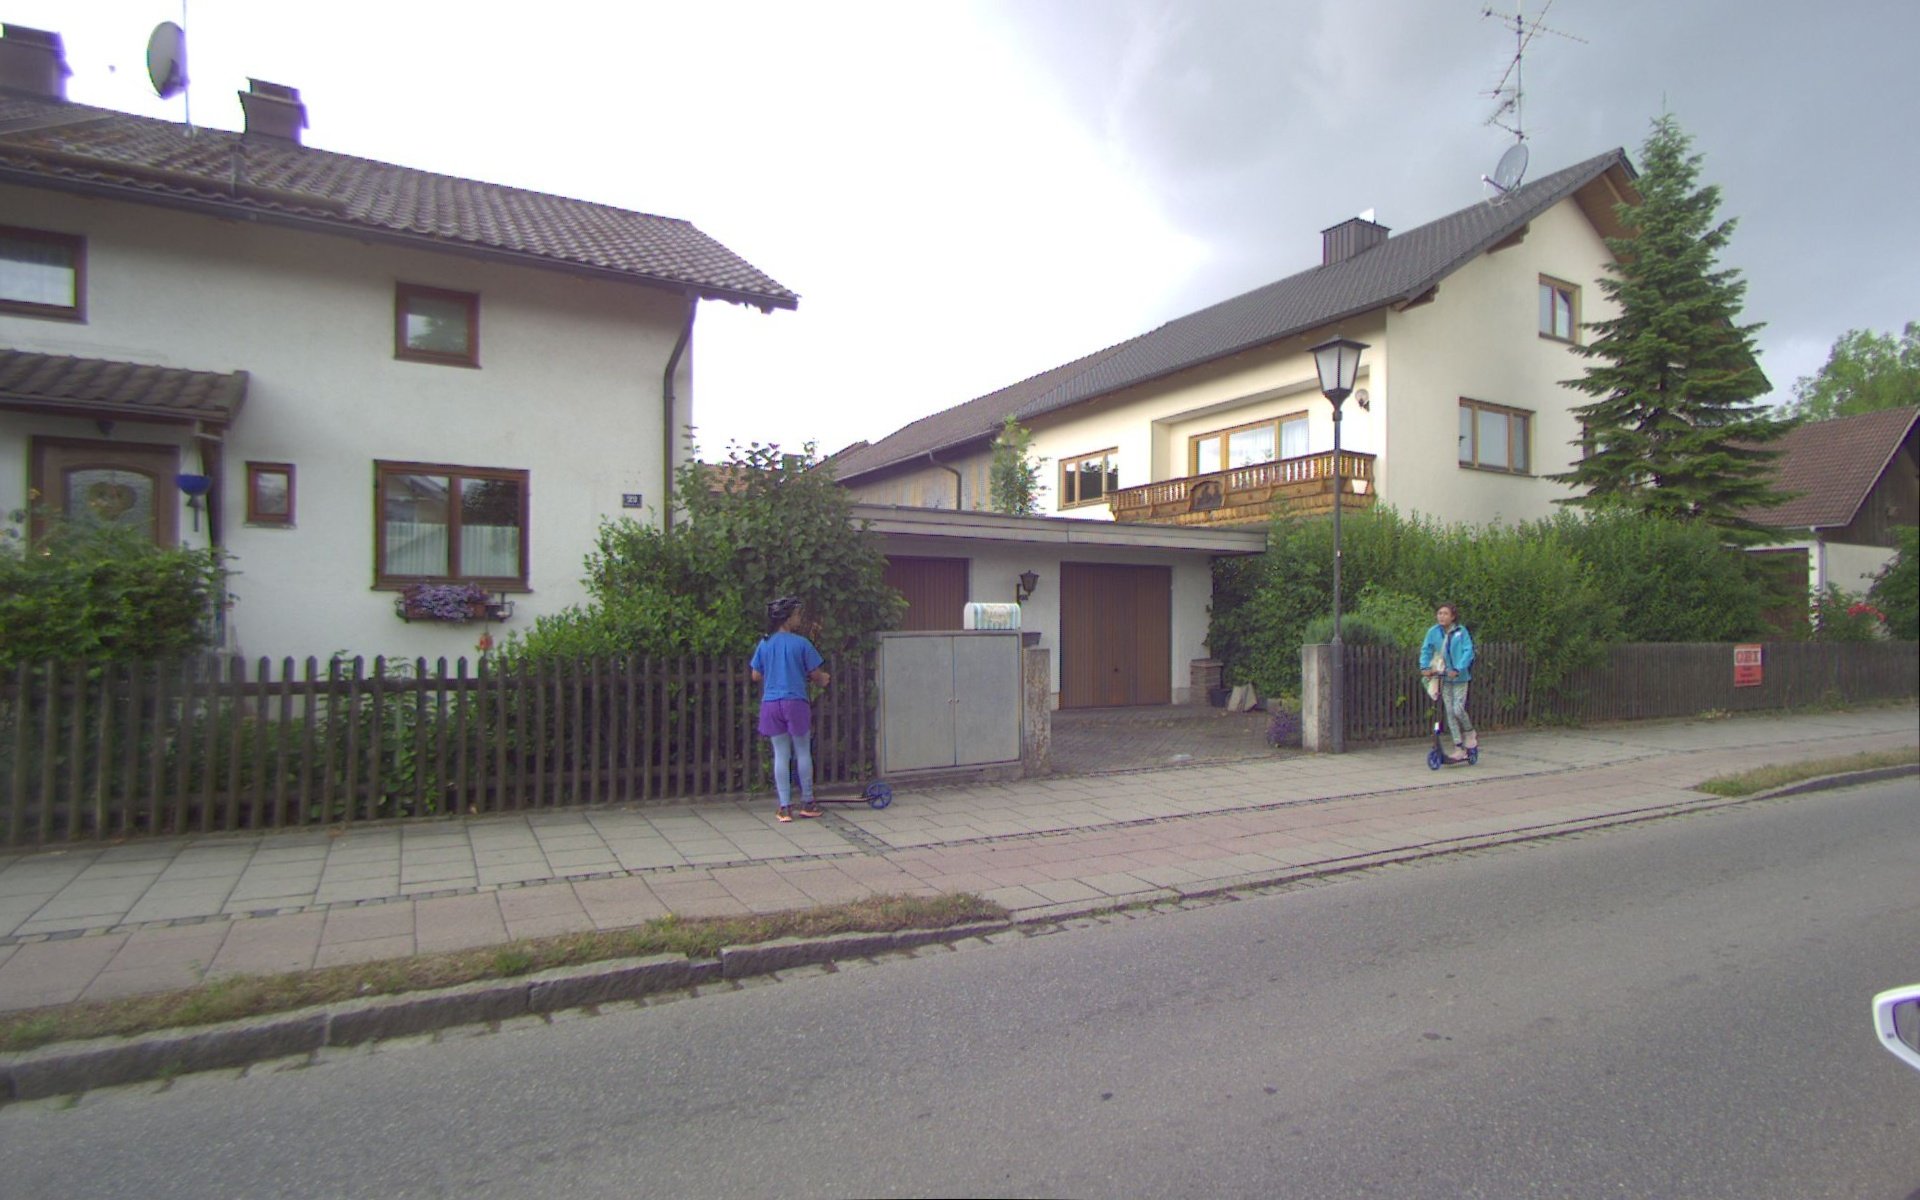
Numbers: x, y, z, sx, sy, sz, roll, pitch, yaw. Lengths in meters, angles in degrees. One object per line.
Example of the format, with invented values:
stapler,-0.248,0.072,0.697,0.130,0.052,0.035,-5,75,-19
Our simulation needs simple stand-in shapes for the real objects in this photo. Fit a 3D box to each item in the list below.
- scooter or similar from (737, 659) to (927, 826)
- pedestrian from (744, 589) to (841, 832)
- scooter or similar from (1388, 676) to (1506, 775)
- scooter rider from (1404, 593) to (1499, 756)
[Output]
scooter or similar,-0.902,0.956,7.087,1.164,1.051,0.658,1,-1,-29
pedestrian,-1.134,0.710,6.757,0.482,1.549,0.530,1,0,-28
scooter or similar,4.692,1.184,9.674,1.048,0.861,0.519,1,-1,-29
scooter rider,4.750,0.695,9.709,0.708,1.509,0.500,1,0,-30
